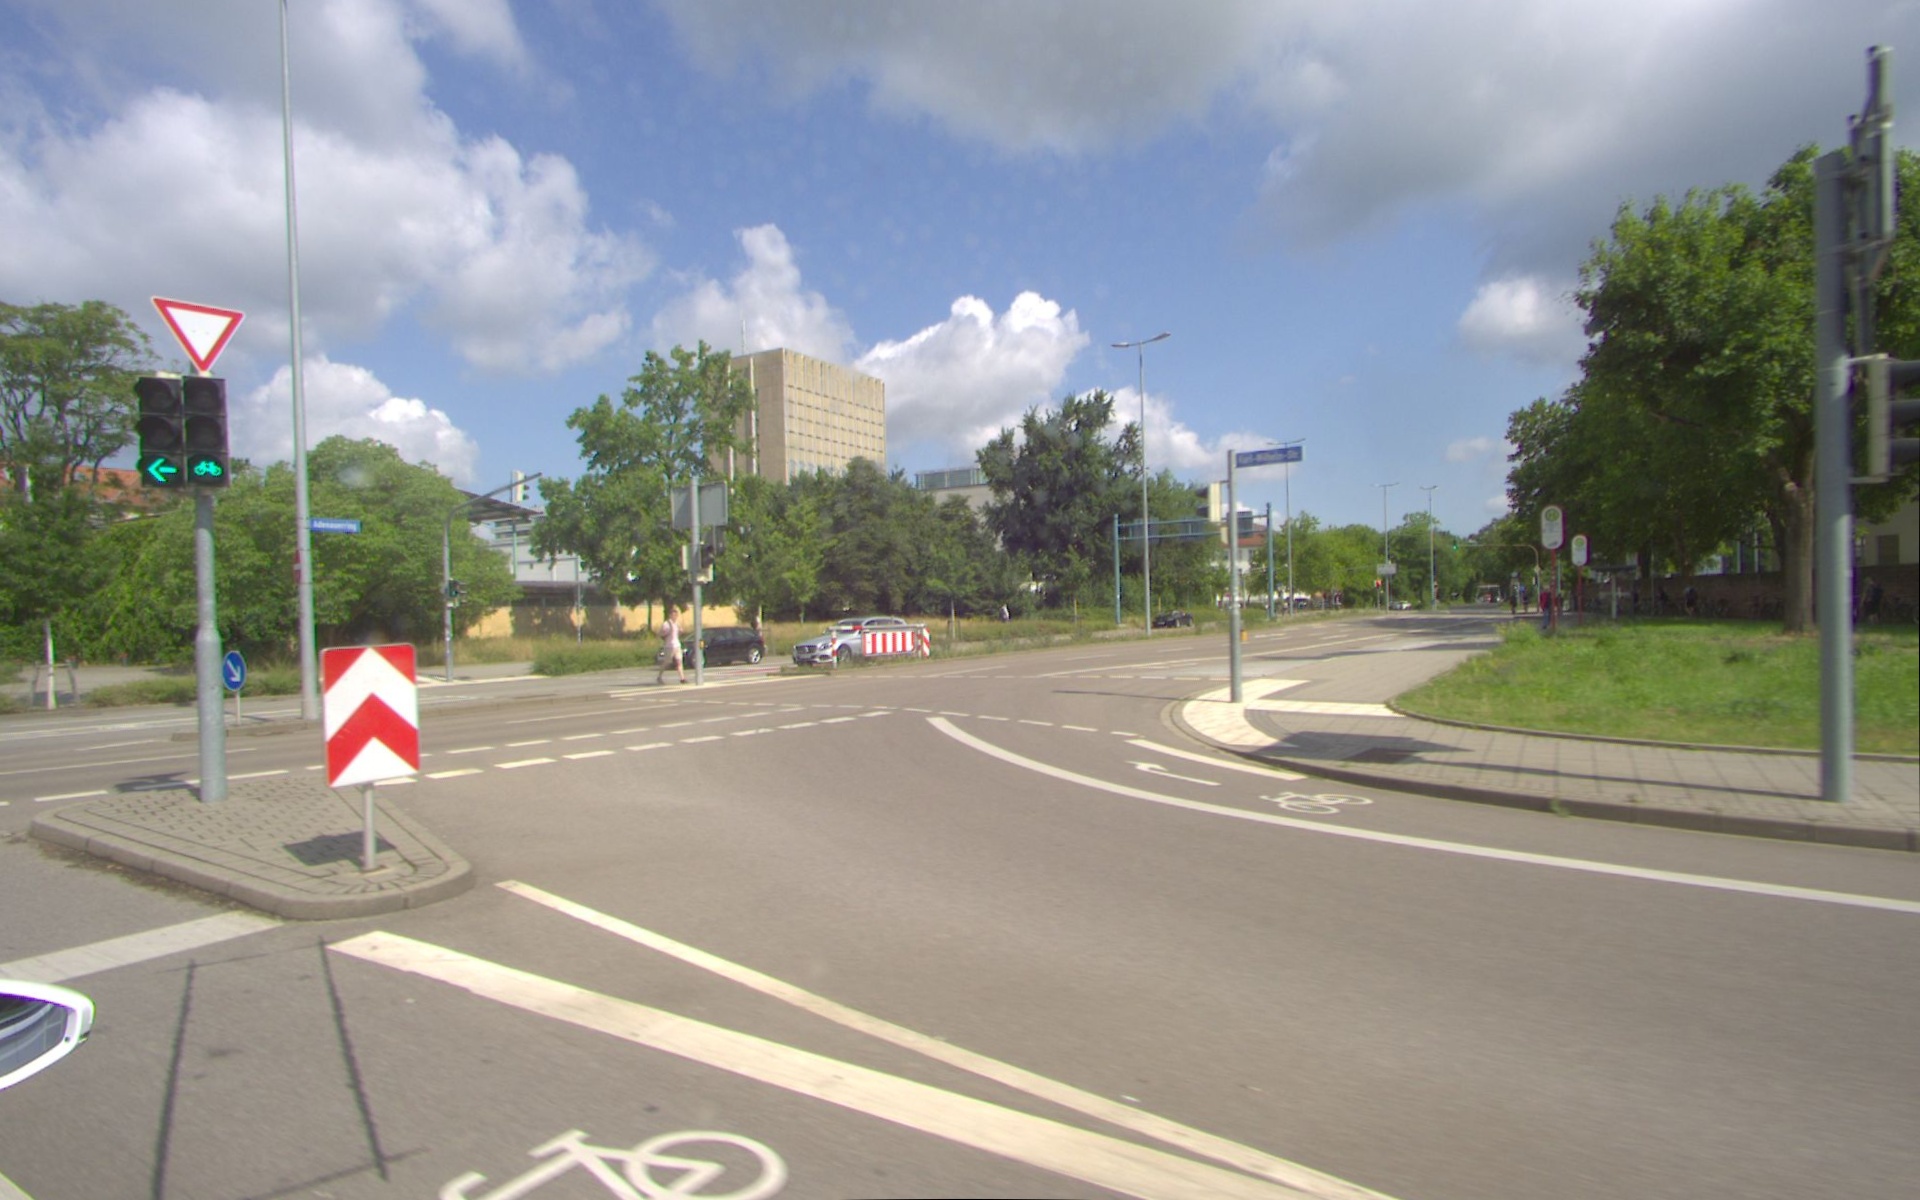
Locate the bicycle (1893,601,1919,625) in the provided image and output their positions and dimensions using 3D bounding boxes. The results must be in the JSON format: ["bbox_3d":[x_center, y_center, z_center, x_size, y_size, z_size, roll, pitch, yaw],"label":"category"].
[{"bbox_3d":[35.456,0.472,37.277,0.955,0.860,0.482,-1,1,10],"label":"bicycle"}]

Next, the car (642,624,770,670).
[{"bbox_3d":[-8.997,1.630,35.724,1.974,1.395,4.133,0,0,36],"label":"car"}]

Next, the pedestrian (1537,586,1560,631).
[{"bbox_3d":[24.153,0.346,41.098,0.738,1.803,0.961,-2,0,28],"label":"pedestrian"}]

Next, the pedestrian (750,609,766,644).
[{"bbox_3d":[-9.686,1.272,48.036,0.534,1.628,0.522,-1,-1,28],"label":"pedestrian"}]

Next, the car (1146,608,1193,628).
[{"bbox_3d":[14.915,1.290,71.144,1.774,1.289,3.974,-1,0,35],"label":"car"}]

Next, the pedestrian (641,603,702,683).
[{"bbox_3d":[-7.129,1.060,24.759,1.161,1.881,0.697,-3,0,21],"label":"pedestrian"}]

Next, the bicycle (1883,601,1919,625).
[{"bbox_3d":[35.605,0.494,37.824,0.955,0.860,0.482,-1,1,10],"label":"bicycle"}]

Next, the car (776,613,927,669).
[{"bbox_3d":[-3.319,1.253,31.509,2.036,1.460,4.748,-4,-2,36],"label":"car"}]

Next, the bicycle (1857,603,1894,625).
[{"bbox_3d":[35.798,0.546,39.141,0.955,0.860,0.482,-1,1,10],"label":"bicycle"}]

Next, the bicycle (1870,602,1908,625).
[{"bbox_3d":[35.705,0.520,38.496,0.955,0.860,0.482,-1,1,10],"label":"bicycle"}]

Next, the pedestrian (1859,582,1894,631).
[{"bbox_3d":[33.226,0.230,36.322,0.651,1.746,0.742,-1,1,12],"label":"pedestrian"}]

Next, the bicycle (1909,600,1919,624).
[{"bbox_3d":[35.377,0.445,36.542,0.955,0.860,0.482,-1,1,10],"label":"bicycle"}]

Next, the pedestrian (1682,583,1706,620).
[{"bbox_3d":[37.196,0.067,50.756,0.874,1.803,0.766,-2,0,32],"label":"pedestrian"}]

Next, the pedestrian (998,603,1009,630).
[{"bbox_3d":[2.896,1.131,66.758,0.534,1.791,0.522,-1,-1,28],"label":"pedestrian"}]

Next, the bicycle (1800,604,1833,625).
[{"bbox_3d":[36.392,0.608,42.565,0.955,0.860,0.482,-1,1,10],"label":"bicycle"}]

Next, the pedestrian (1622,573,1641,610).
[{"bbox_3d":[34.308,-0.432,51.140,0.739,1.803,0.766,-2,0,32],"label":"pedestrian"}]
